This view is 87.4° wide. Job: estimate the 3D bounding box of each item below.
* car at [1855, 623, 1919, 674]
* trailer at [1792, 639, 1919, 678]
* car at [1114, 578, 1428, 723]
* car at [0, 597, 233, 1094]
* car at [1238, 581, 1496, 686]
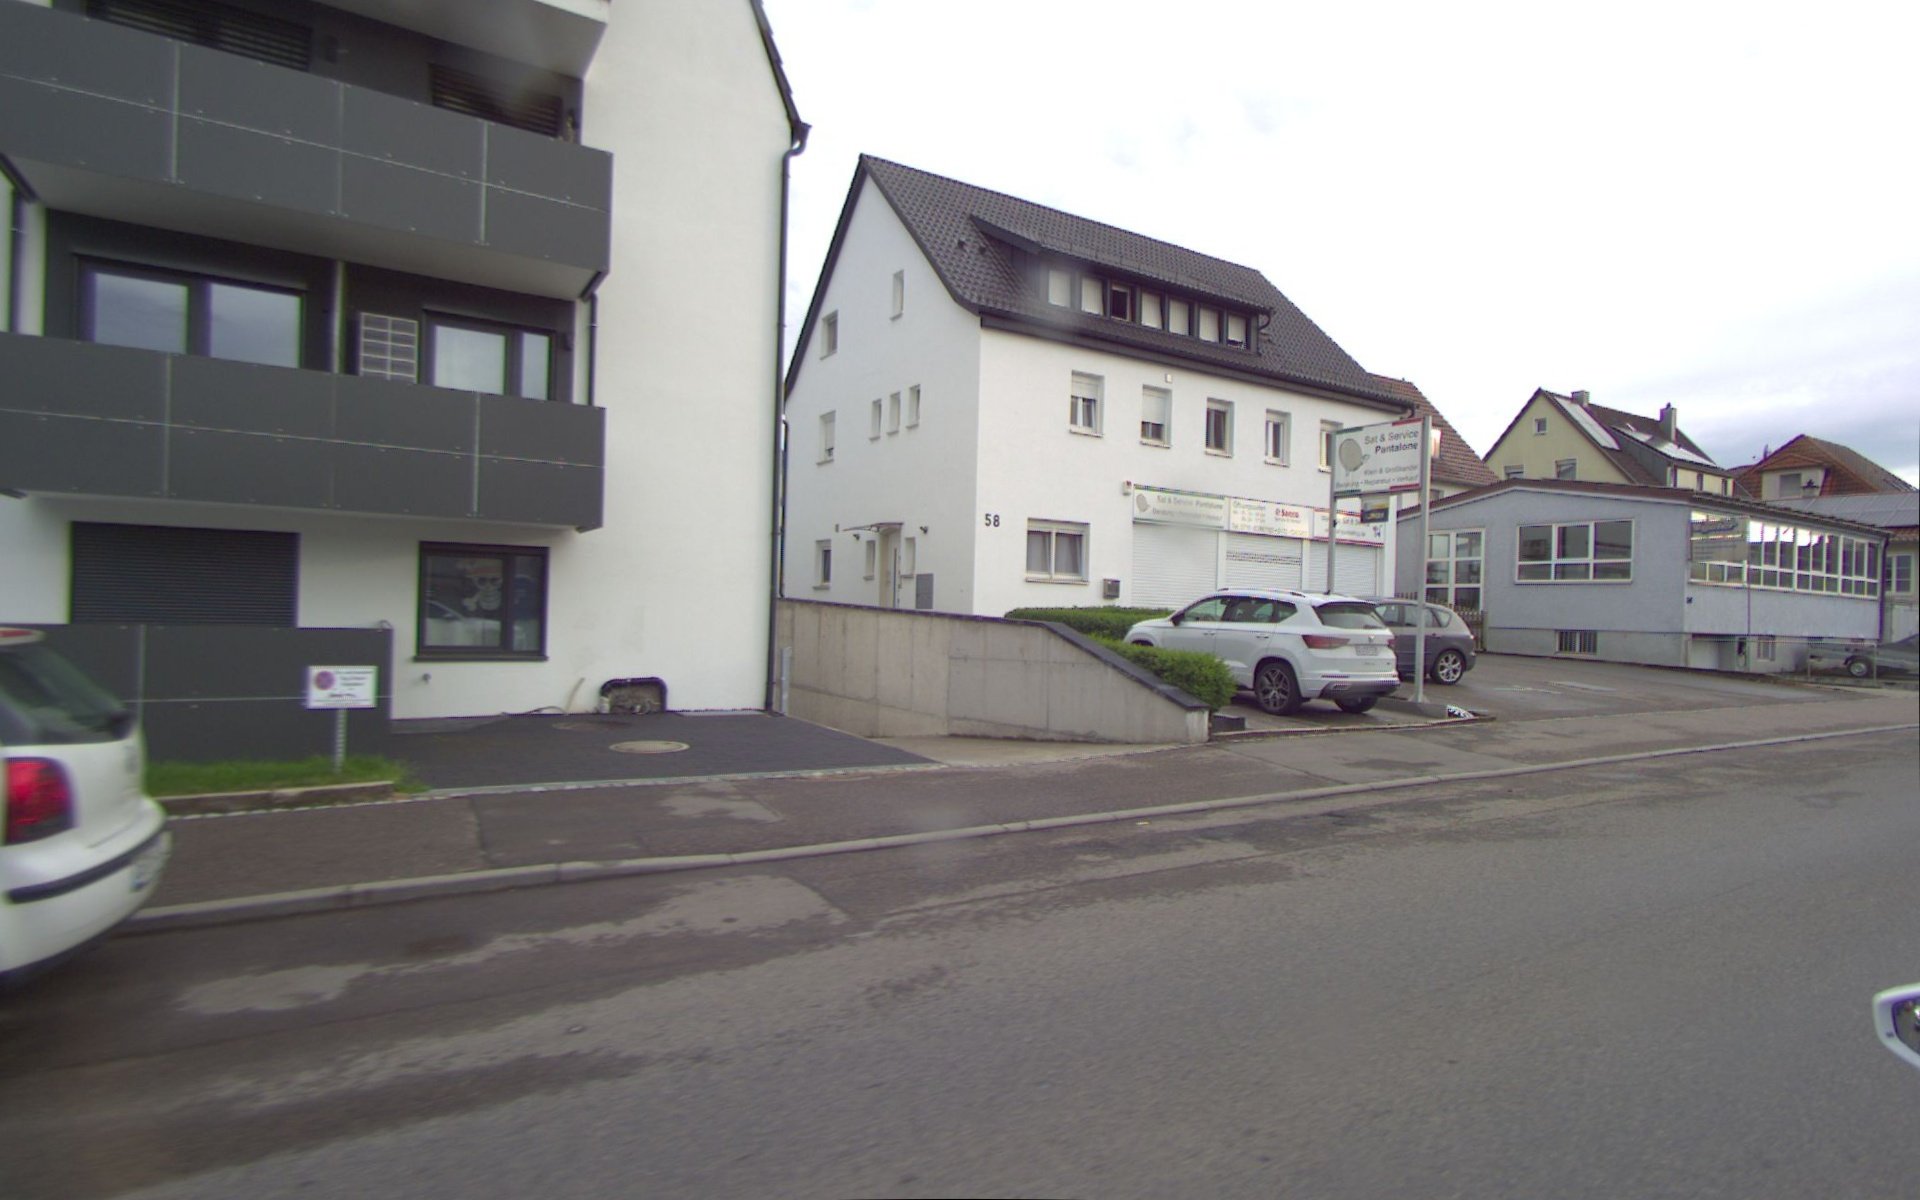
[{"bbox_3d":[29.000,1.434,29.412,1.747,1.457,3.854,1,-1,-30],"label":"car"},{"bbox_3d":[26.544,1.664,28.535,1.774,0.955,4.174,1,0,-32],"label":"trailer"},{"bbox_3d":[4.276,0.600,14.434,1.978,1.669,3.965,1,2,-31],"label":"car"},{"bbox_3d":[-4.701,0.735,3.060,3.825,1.525,1.728,1,-1,-30],"label":"car"},{"bbox_3d":[7.299,0.584,18.160,3.934,1.551,1.819,3,4,-16],"label":"car"}]
